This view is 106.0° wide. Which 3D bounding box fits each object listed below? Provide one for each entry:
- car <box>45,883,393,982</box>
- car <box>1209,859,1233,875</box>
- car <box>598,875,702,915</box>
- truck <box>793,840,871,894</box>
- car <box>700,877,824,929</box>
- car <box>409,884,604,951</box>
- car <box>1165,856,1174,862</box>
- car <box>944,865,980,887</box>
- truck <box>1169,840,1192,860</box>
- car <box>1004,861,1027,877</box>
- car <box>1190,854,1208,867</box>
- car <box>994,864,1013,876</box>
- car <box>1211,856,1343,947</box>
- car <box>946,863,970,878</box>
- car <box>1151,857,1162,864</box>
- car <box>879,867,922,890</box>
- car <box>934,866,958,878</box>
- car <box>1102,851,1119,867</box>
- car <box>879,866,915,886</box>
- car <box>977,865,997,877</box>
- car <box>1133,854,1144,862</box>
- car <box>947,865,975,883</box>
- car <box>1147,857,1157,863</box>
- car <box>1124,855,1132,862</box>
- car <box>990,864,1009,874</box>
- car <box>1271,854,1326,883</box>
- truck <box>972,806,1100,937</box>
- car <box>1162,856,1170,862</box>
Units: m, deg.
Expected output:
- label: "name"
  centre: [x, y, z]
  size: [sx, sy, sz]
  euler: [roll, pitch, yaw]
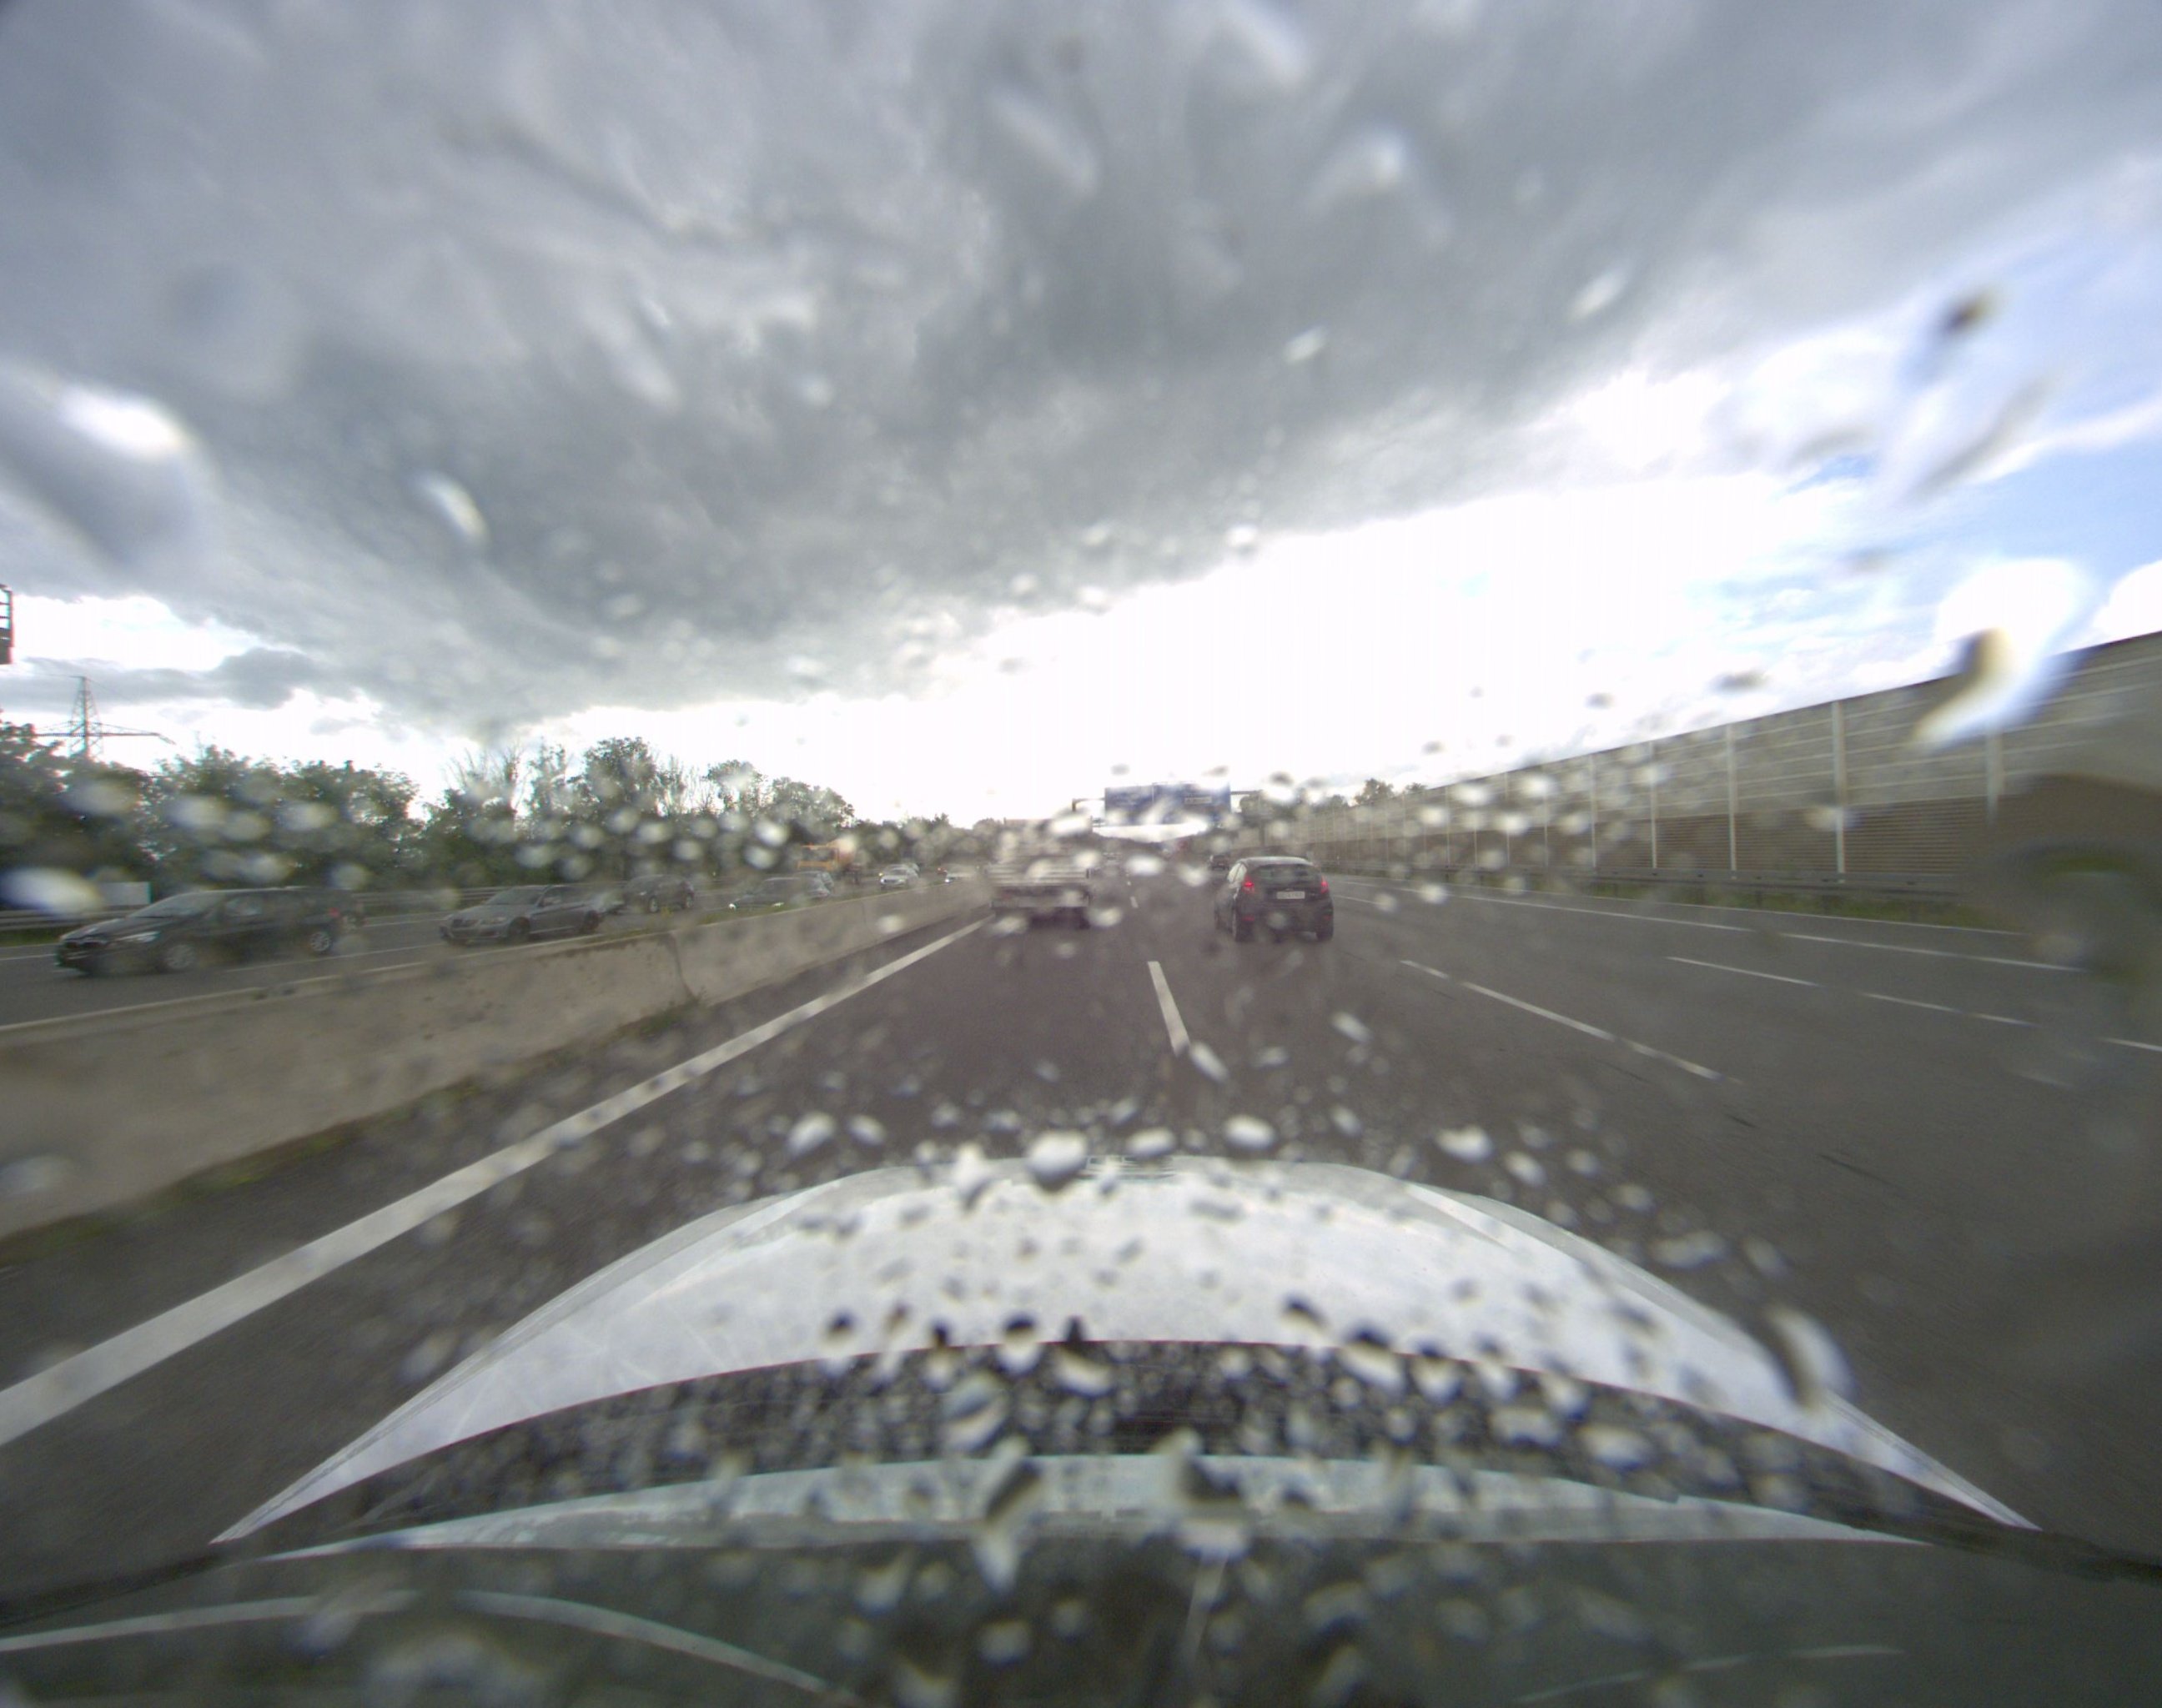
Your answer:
- label: "car"
  centre: [-18.025, 1.532, 17.549]
  size: [1.716, 1.646, 5.240]
  euler: [0, 0, 3]
- label: "car"
  centre: [13.776, 1.256, 80.386]
  size: [1.874, 1.542, 4.438]
  euler: [-2, -1, 4]
- label: "car"
  centre: [-17.678, 1.631, 33.671]
  size: [1.716, 1.428, 4.522]
  euler: [0, 0, 3]
- label: "truck"
  centre: [-19.885, 1.015, 65.809]
  size: [2.903, 4.014, 9.590]
  euler: [-1, 0, 3]
- label: "car"
  centre: [-10.181, 1.504, 26.492]
  size: [1.716, 1.428, 5.234]
  euler: [0, 0, 3]
- label: "car"
  centre: [-14.822, 1.581, 21.396]
  size: [1.716, 1.428, 4.522]
  euler: [0, 0, 3]
- label: "car"
  centre: [22.670, 1.250, 208.310]
  size: [1.961, 1.561, 4.433]
  euler: [-2, -1, 1]
- label: "car"
  centre: [-8.456, 1.541, 58.235]
  size: [1.716, 1.428, 4.651]
  euler: [0, 0, 2]
- label: "truck"
  centre: [18.536, -0.824, 152.656]
  size: [3.141, 3.601, 12.702]
  euler: [0, 0, 1]
- label: "car"
  centre: [-6.795, 1.554, 85.344]
  size: [1.716, 1.603, 4.917]
  euler: [0, 0, 3]
- label: "car"
  centre: [15.970, 0.878, 110.255]
  size: [1.876, 1.561, 4.434]
  euler: [-2, -1, 1]
- label: "car"
  centre: [-9.991, 2.054, 105.225]
  size: [1.716, 1.494, 4.916]
  euler: [0, 0, 2]
- label: "car"
  centre: [3.486, 0.766, 15.201]
  size: [1.709, 1.417, 4.283]
  euler: [-1, 0, 4]
- label: "car"
  centre: [-13.917, 1.834, 92.076]
  size: [1.716, 1.603, 4.917]
  euler: [0, 0, 3]
- label: "car"
  centre: [16.537, 1.473, 177.984]
  size: [1.961, 1.561, 4.433]
  euler: [-2, -1, 1]
- label: "car"
  centre: [-12.626, 1.696, 57.316]
  size: [1.716, 1.470, 4.853]
  euler: [0, 0, 3]
- label: "car"
  centre: [-17.444, 2.331, 105.558]
  size: [1.974, 1.494, 4.917]
  euler: [-2, -1, 3]
- label: "car"
  centre: [3.289, 0.510, 89.393]
  size: [1.710, 1.624, 4.282]
  euler: [-1, 1, 3]
- label: "car"
  centre: [-15.530, 1.841, 68.958]
  size: [1.716, 1.603, 4.522]
  euler: [0, 0, 3]
- label: "car"
  centre: [-12.990, 2.327, 112.815]
  size: [1.974, 1.494, 4.917]
  euler: [-2, -1, 3]
- label: "car"
  centre: [11.773, 0.865, 166.645]
  size: [1.961, 1.561, 4.434]
  euler: [-2, -1, 1]
- label: "car"
  centre: [-11.499, 1.896, 78.308]
  size: [1.716, 1.603, 4.648]
  euler: [0, 0, 3]
- label: "car"
  centre: [17.469, 1.485, 200.485]
  size: [1.962, 1.561, 4.432]
  euler: [-2, -1, 0]
- label: "car"
  centre: [12.308, 1.184, 215.258]
  size: [1.961, 1.561, 4.434]
  euler: [-1, 0, 1]
- label: "car"
  centre: [-12.136, 2.222, 121.548]
  size: [1.974, 1.494, 4.917]
  euler: [-2, -1, 3]
- label: "car"
  centre: [11.467, 0.764, 43.244]
  size: [1.942, 1.418, 4.235]
  euler: [-1, 0, 3]
- label: "truck"
  centre: [-0.771, 0.291, 18.971]
  size: [2.298, 2.439, 7.152]
  euler: [-1, 1, 2]
- label: "car"
  centre: [24.208, 1.404, 232.169]
  size: [1.961, 1.561, 4.433]
  euler: [-2, -1, 1]
